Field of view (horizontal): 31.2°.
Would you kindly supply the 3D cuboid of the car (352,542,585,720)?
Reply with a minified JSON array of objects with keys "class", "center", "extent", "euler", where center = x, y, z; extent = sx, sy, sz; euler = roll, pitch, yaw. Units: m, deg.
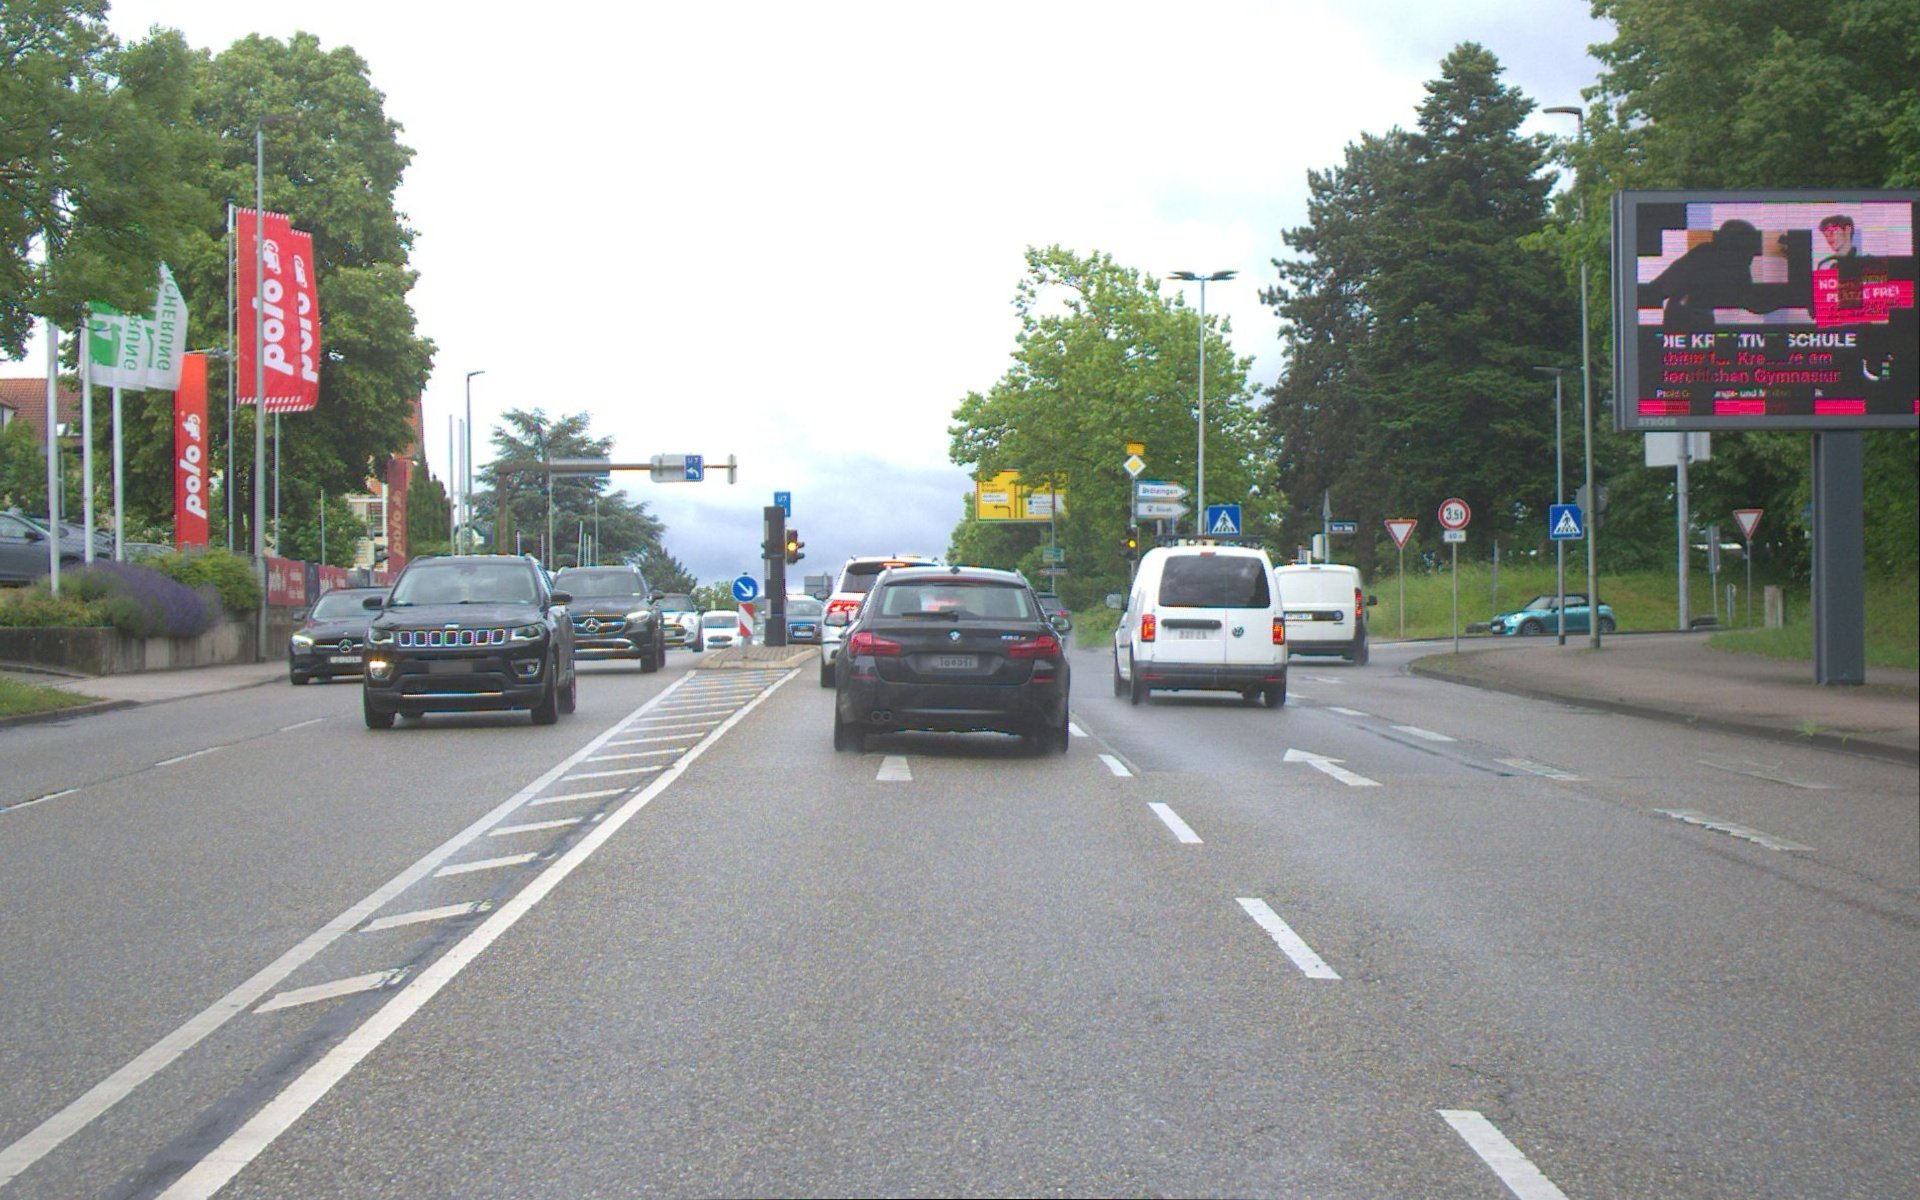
[{"class":"car","center":[-4.740,0.250,33.672],"extent":[1.795,1.578,4.199],"euler":[-1,1,-2]}]

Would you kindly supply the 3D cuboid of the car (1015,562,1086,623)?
[{"class":"car","center":[2.139,-0.198,81.812],"extent":[1.600,1.367,3.680],"euler":[-1,1,1]}]

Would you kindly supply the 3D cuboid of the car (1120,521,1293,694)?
[{"class":"car","center":[2.788,0.065,39.594],"extent":[1.741,1.863,3.946],"euler":[1,0,1]}]

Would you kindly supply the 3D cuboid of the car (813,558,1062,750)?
[{"class":"car","center":[-0.119,0.385,27.973],"extent":[1.855,1.414,3.957],"euler":[1,1,2]}]

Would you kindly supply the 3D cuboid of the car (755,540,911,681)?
[{"class":"car","center":[-1.600,0.098,44.304],"extent":[1.728,1.705,3.382],"euler":[1,1,2]}]

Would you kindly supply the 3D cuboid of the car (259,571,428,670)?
[{"class":"car","center":[-9.325,0.282,52.313],"extent":[1.793,1.397,4.300],"euler":[-1,1,0]}]

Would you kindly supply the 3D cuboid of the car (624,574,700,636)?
[{"class":"car","center":[-7.110,0.109,82.350],"extent":[1.667,1.393,4.000],"euler":[-2,0,-3]}]

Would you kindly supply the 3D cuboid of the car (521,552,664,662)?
[{"class":"car","center":[-5.674,0.091,53.493],"extent":[1.822,1.602,4.284],"euler":[-1,0,-1]}]

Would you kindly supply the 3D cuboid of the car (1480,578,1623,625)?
[{"class":"car","center":[17.940,0.028,104.264],"extent":[3.986,1.289,1.609],"euler":[-2,1,-19]}]

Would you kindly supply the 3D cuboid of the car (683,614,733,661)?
[{"class":"car","center":[-10.275,1.517,140.303],"extent":[1.857,1.817,4.580],"euler":[-2,0,-3]}]

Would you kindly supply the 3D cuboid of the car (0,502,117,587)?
[{"class":"car","center":[-16.886,-0.967,60.514],"extent":[3.825,1.477,1.742],"euler":[0,0,-8]}]

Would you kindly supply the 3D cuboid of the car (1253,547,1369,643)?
[{"class":"car","center":[6.463,-0.120,63.637],"extent":[1.814,1.702,3.946],"euler":[0,1,1]}]

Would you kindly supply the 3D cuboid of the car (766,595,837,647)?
[{"class":"car","center":[-4.544,0.599,97.841],"extent":[1.894,1.451,4.097],"euler":[0,-1,-4]}]
